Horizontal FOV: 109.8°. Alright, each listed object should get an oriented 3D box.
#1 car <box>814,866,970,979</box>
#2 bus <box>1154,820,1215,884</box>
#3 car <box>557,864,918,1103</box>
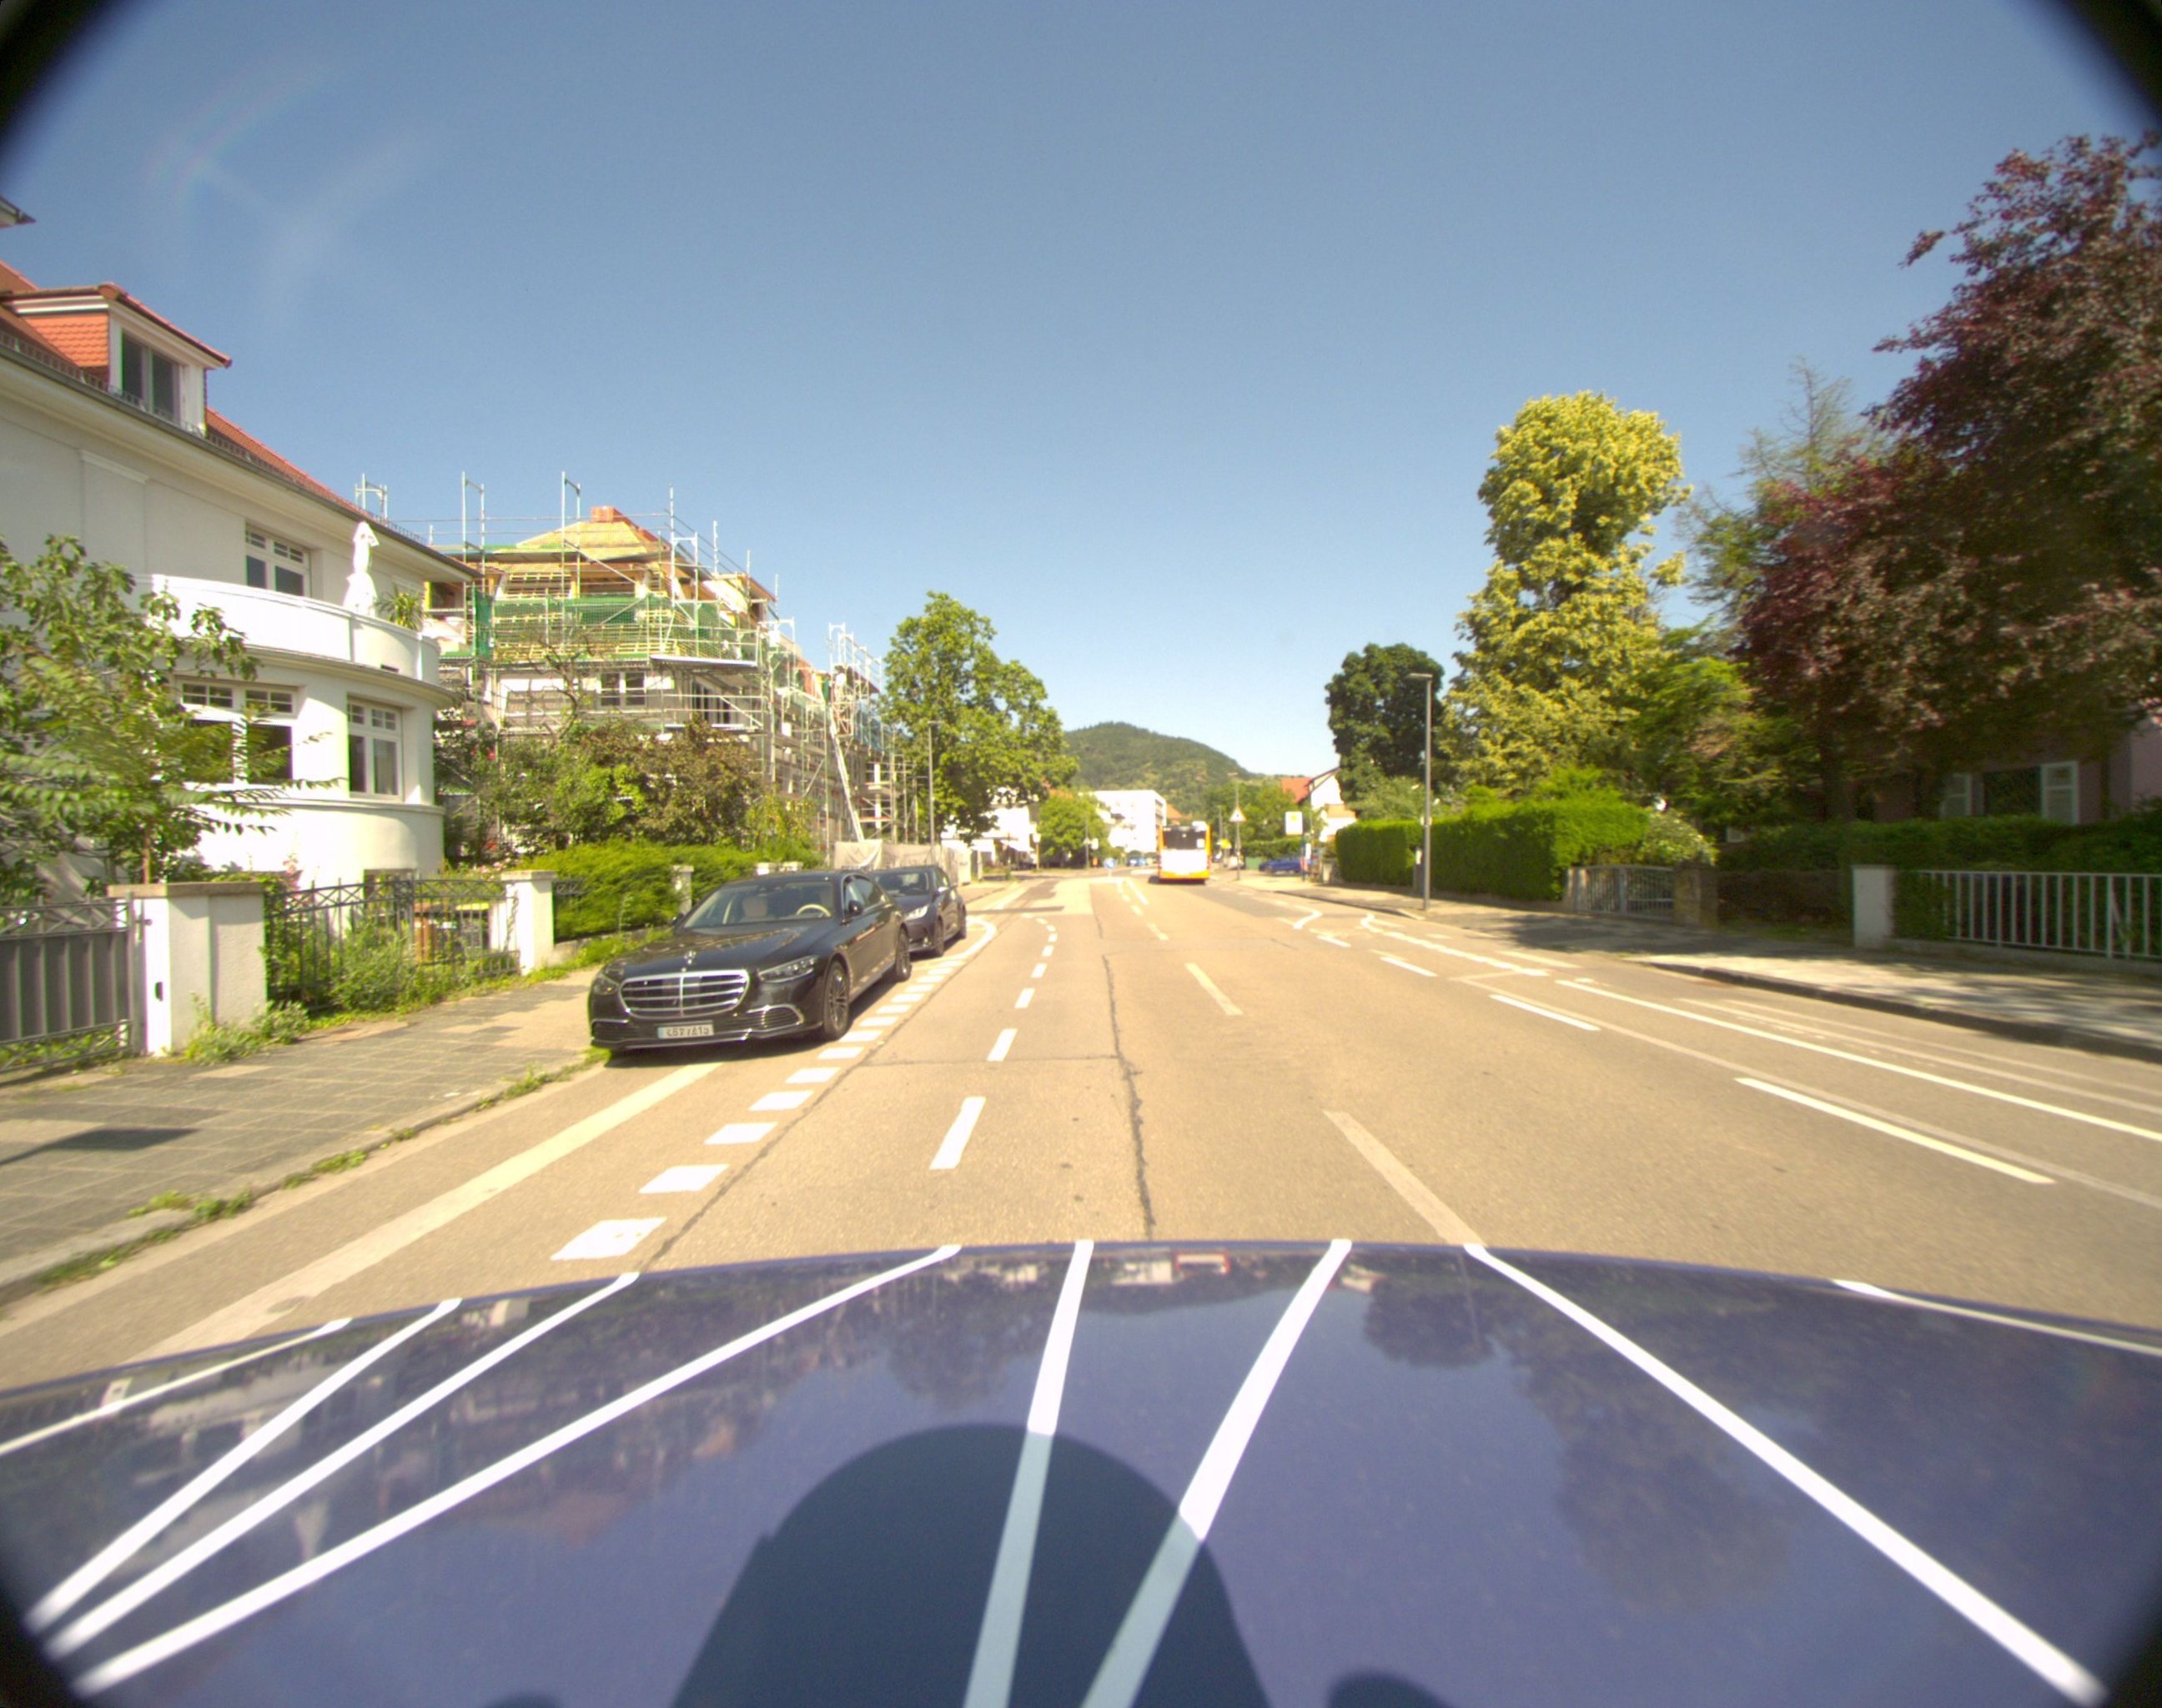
[{"bbox_3d":[-3.058,1.039,13.076,1.662,1.467,3.786,-4,0,0],"label":"car"},{"bbox_3d":[5.588,-0.113,42.434,2.751,3.156,9.781,1,0,4],"label":"bus"},{"bbox_3d":[-3.068,0.993,8.100,1.701,1.573,4.899,-4,0,-2],"label":"car"}]
